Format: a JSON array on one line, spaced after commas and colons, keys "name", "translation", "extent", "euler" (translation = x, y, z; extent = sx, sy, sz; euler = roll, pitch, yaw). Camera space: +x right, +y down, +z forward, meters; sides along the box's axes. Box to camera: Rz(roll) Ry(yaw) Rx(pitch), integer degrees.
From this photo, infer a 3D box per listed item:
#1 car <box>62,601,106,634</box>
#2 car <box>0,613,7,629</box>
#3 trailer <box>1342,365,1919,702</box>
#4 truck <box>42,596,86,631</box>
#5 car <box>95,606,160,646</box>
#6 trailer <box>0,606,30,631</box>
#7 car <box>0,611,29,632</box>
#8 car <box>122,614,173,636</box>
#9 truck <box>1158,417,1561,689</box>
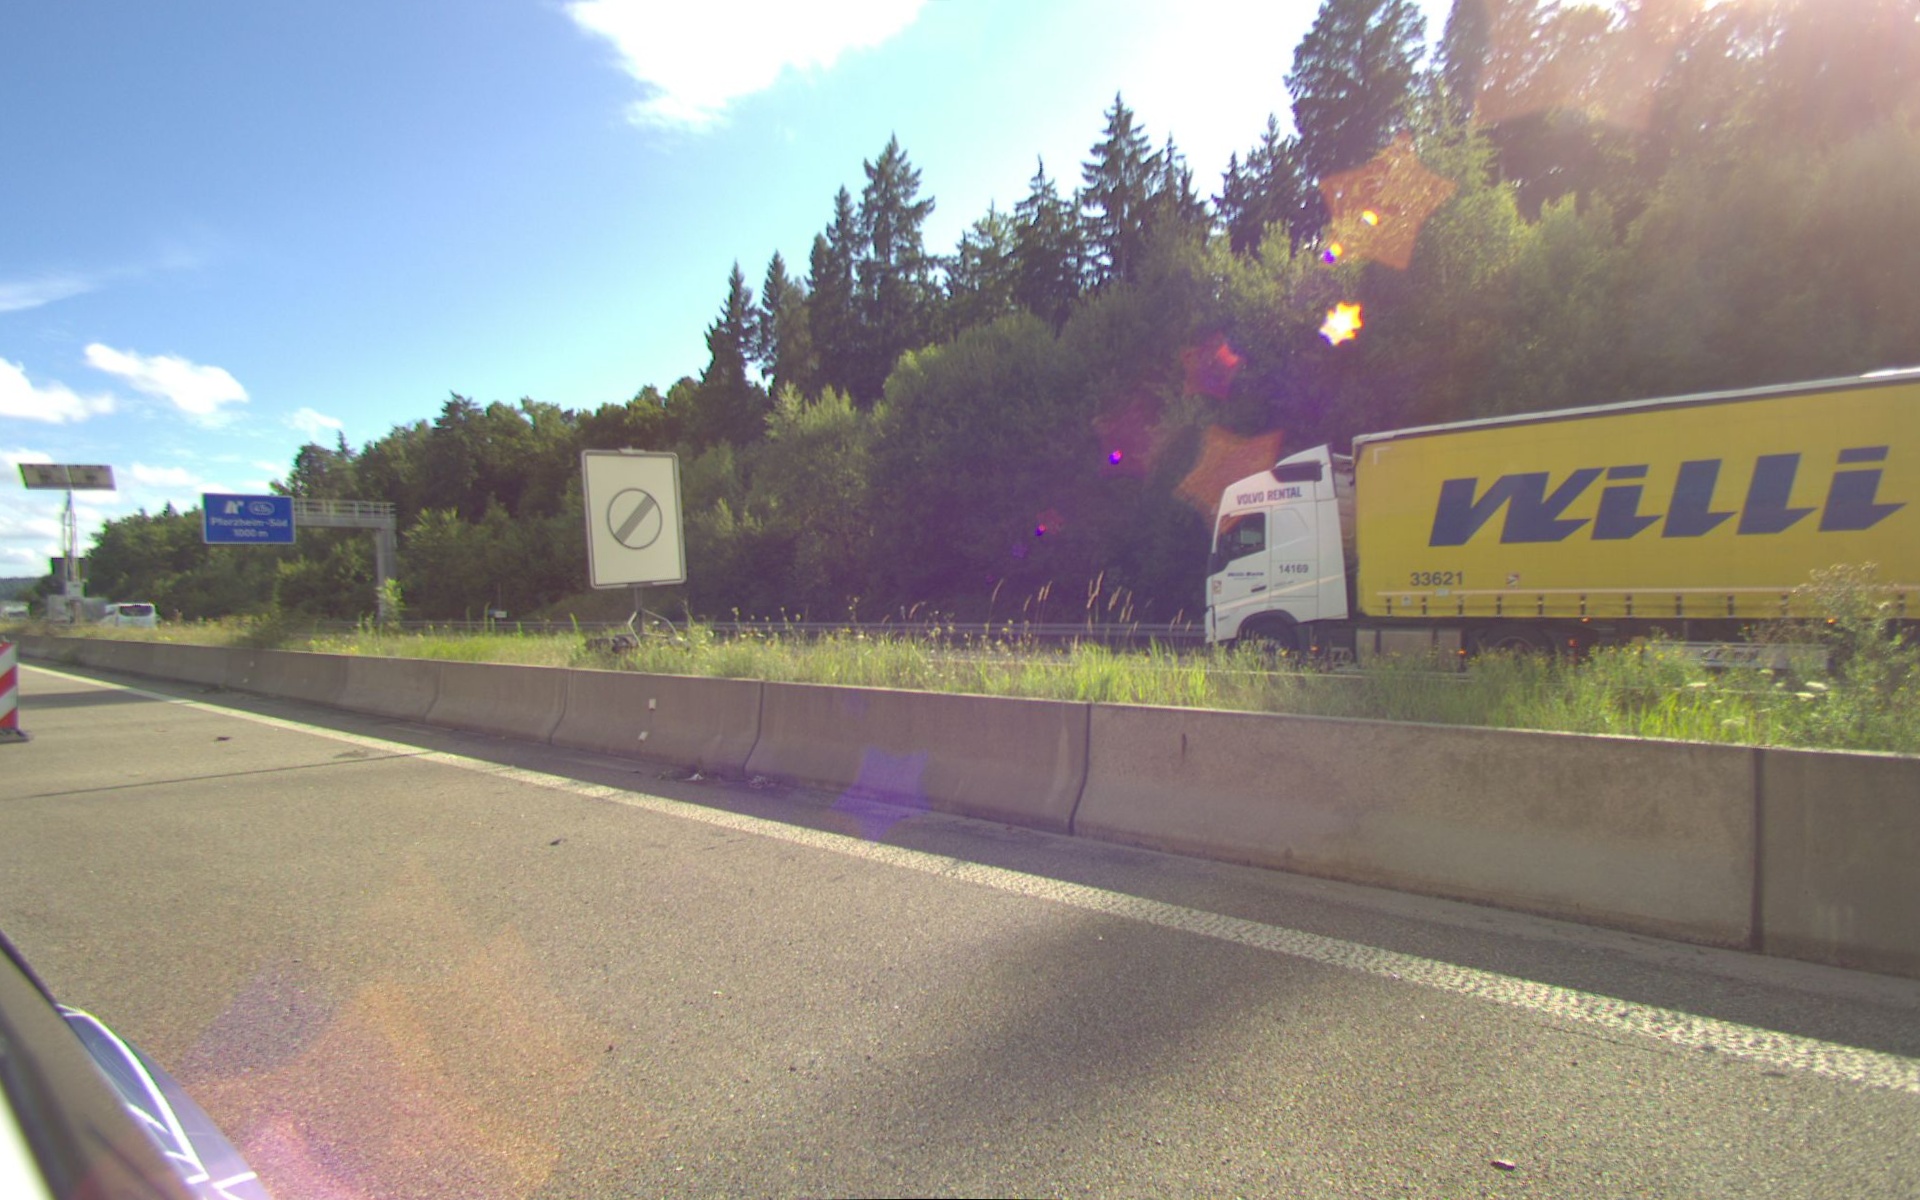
[{"name": "car", "translation": [-93.225, 1.801, 107.702], "extent": [7.448, 3.395, 2.461], "euler": [-1, 0, 41]}, {"name": "car", "translation": [-89.413, 1.946, 93.409], "extent": [4.309, 1.398, 1.760], "euler": [-1, 0, 42]}, {"name": "trailer", "translation": [12.329, -0.797, 12.808], "extent": [13.934, 3.952, 2.798], "euler": [-1, 0, 41]}, {"name": "truck", "translation": [-110.031, 1.676, 124.265], "extent": [10.181, 4.022, 2.771], "euler": [-1, 0, 41]}, {"name": "car", "translation": [-44.939, 1.384, 54.598], "extent": [4.829, 2.029, 1.973], "euler": [-1, 0, 41]}, {"name": "trailer", "translation": [-156.206, 3.000, 167.252], "extent": [8.484, 3.953, 2.762], "euler": [-1, 0, 41]}, {"name": "car", "translation": [-113.949, 2.572, 121.790], "extent": [6.328, 2.469, 2.138], "euler": [-1, 1, 41]}, {"name": "car", "translation": [-54.402, 1.661, 67.723], "extent": [4.286, 1.373, 1.938], "euler": [-1, 0, 41]}, {"name": "truck", "translation": [6.793, -0.668, 17.671], "extent": [5.946, 3.938, 2.797], "euler": [-1, 0, 41]}]
